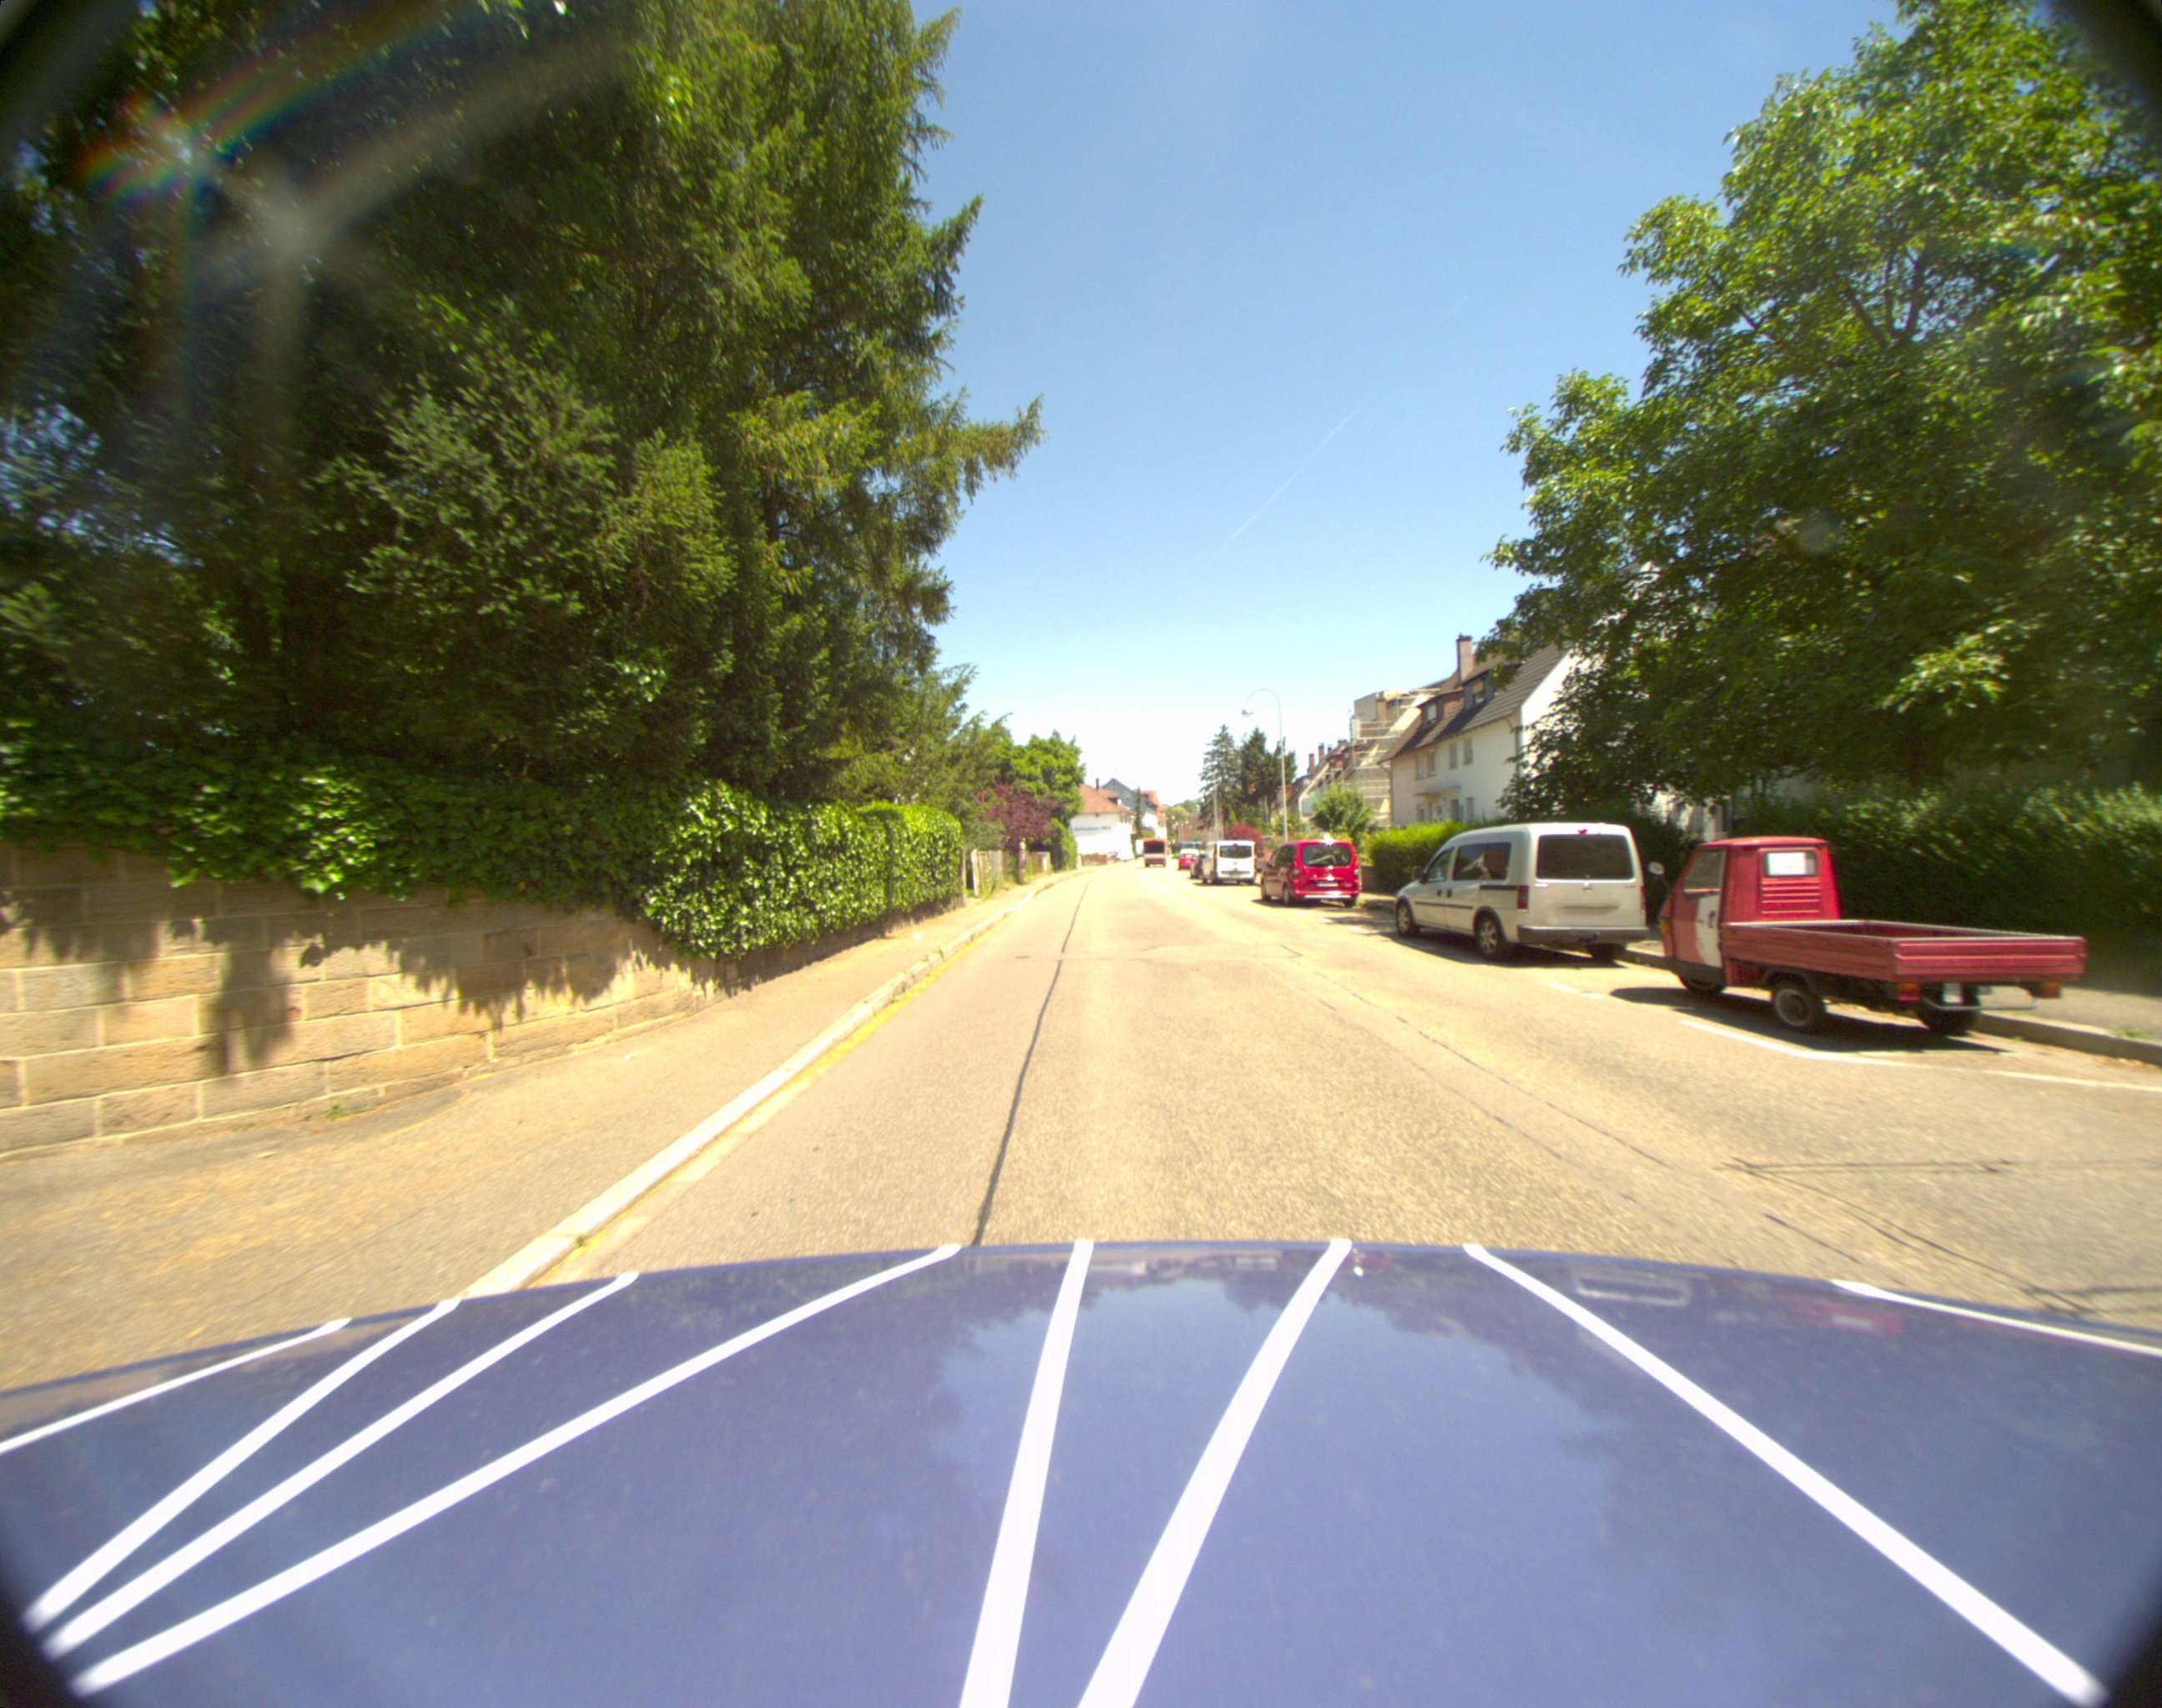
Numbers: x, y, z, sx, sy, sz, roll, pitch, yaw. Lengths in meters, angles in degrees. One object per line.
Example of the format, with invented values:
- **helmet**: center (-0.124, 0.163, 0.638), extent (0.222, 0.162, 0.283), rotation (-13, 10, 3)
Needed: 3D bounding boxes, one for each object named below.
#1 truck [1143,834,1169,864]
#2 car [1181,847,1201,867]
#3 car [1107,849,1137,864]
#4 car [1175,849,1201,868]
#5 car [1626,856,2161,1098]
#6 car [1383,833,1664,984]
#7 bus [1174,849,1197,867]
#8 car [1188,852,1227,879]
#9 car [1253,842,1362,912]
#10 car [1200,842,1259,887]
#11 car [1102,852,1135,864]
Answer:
- **truck**: center (7.553, -0.492, 76.502), extent (2.378, 2.813, 5.660), rotation (-1, 1, 6)
- **car**: center (9.707, 0.268, 67.053), extent (1.726, 1.726, 3.889), rotation (0, 1, 8)
- **car**: center (6.321, 0.352, 116.935), extent (4.300, 1.820, 1.740), rotation (-5, 0, 4)
- **car**: center (8.755, 0.341, 62.040), extent (1.763, 1.469, 4.062), rotation (0, 1, 13)
- **car**: center (6.148, 0.779, 6.200), extent (1.415, 1.494, 2.840), rotation (0, 0, 2)
- **car**: center (6.011, 0.619, 11.013), extent (1.652, 1.742, 4.354), rotation (-1, 0, 2)
- **bus**: center (20.437, 0.729, 148.049), extent (2.908, 3.062, 12.573), rotation (-2, 1, 14)
- **car**: center (6.911, 0.585, 41.849), extent (1.702, 1.376, 4.236), rotation (0, 0, 4)
- **car**: center (6.162, 0.563, 21.178), extent (1.762, 1.717, 4.458), rotation (-1, 0, 1)
- **car**: center (6.641, 0.429, 34.503), extent (1.890, 1.870, 4.981), rotation (-1, 0, 3)
- **car**: center (5.675, 0.587, 114.456), extent (4.647, 1.400, 1.770), rotation (-5, 0, 13)
